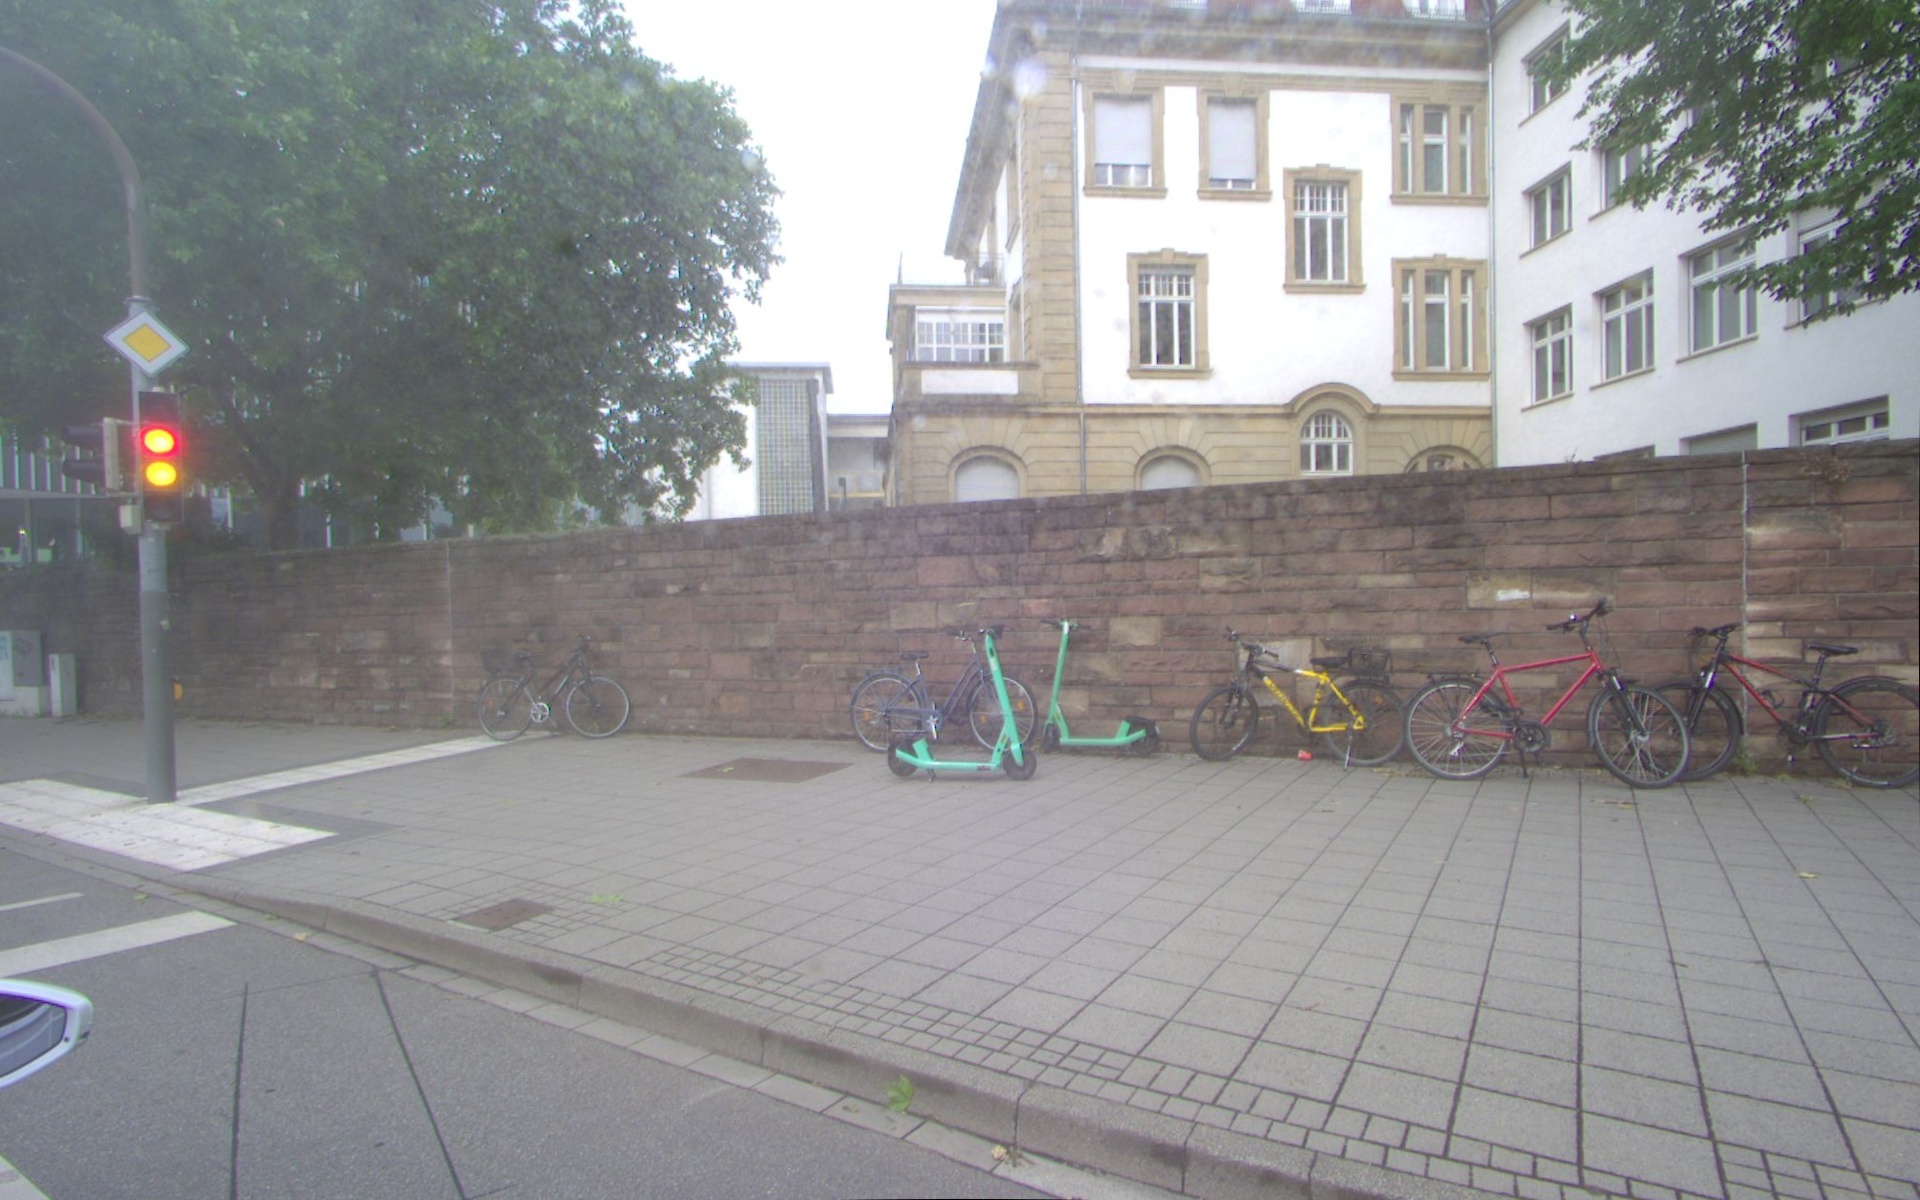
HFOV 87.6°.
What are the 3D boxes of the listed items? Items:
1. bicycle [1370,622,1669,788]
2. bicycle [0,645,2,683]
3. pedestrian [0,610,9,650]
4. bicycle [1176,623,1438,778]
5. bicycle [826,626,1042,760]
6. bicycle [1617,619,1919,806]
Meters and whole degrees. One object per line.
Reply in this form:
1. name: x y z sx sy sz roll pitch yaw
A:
1. bicycle: 3.985 0.740 7.190 1.904 1.158 0.386 0 -1 1
2. bicycle: -27.037 1.737 26.729 1.943 1.031 0.794 1 -2 -22
3. pedestrian: -50.873 1.563 52.574 1.170 2.088 1.128 1 -2 -35
4. bicycle: 2.682 0.768 7.889 1.905 1.158 0.386 -1 -1 12
5. bicycle: -0.234 0.815 9.007 1.905 1.158 0.386 -1 -1 12
6. bicycle: 5.453 0.713 6.544 1.907 1.158 0.339 -1 -1 17
